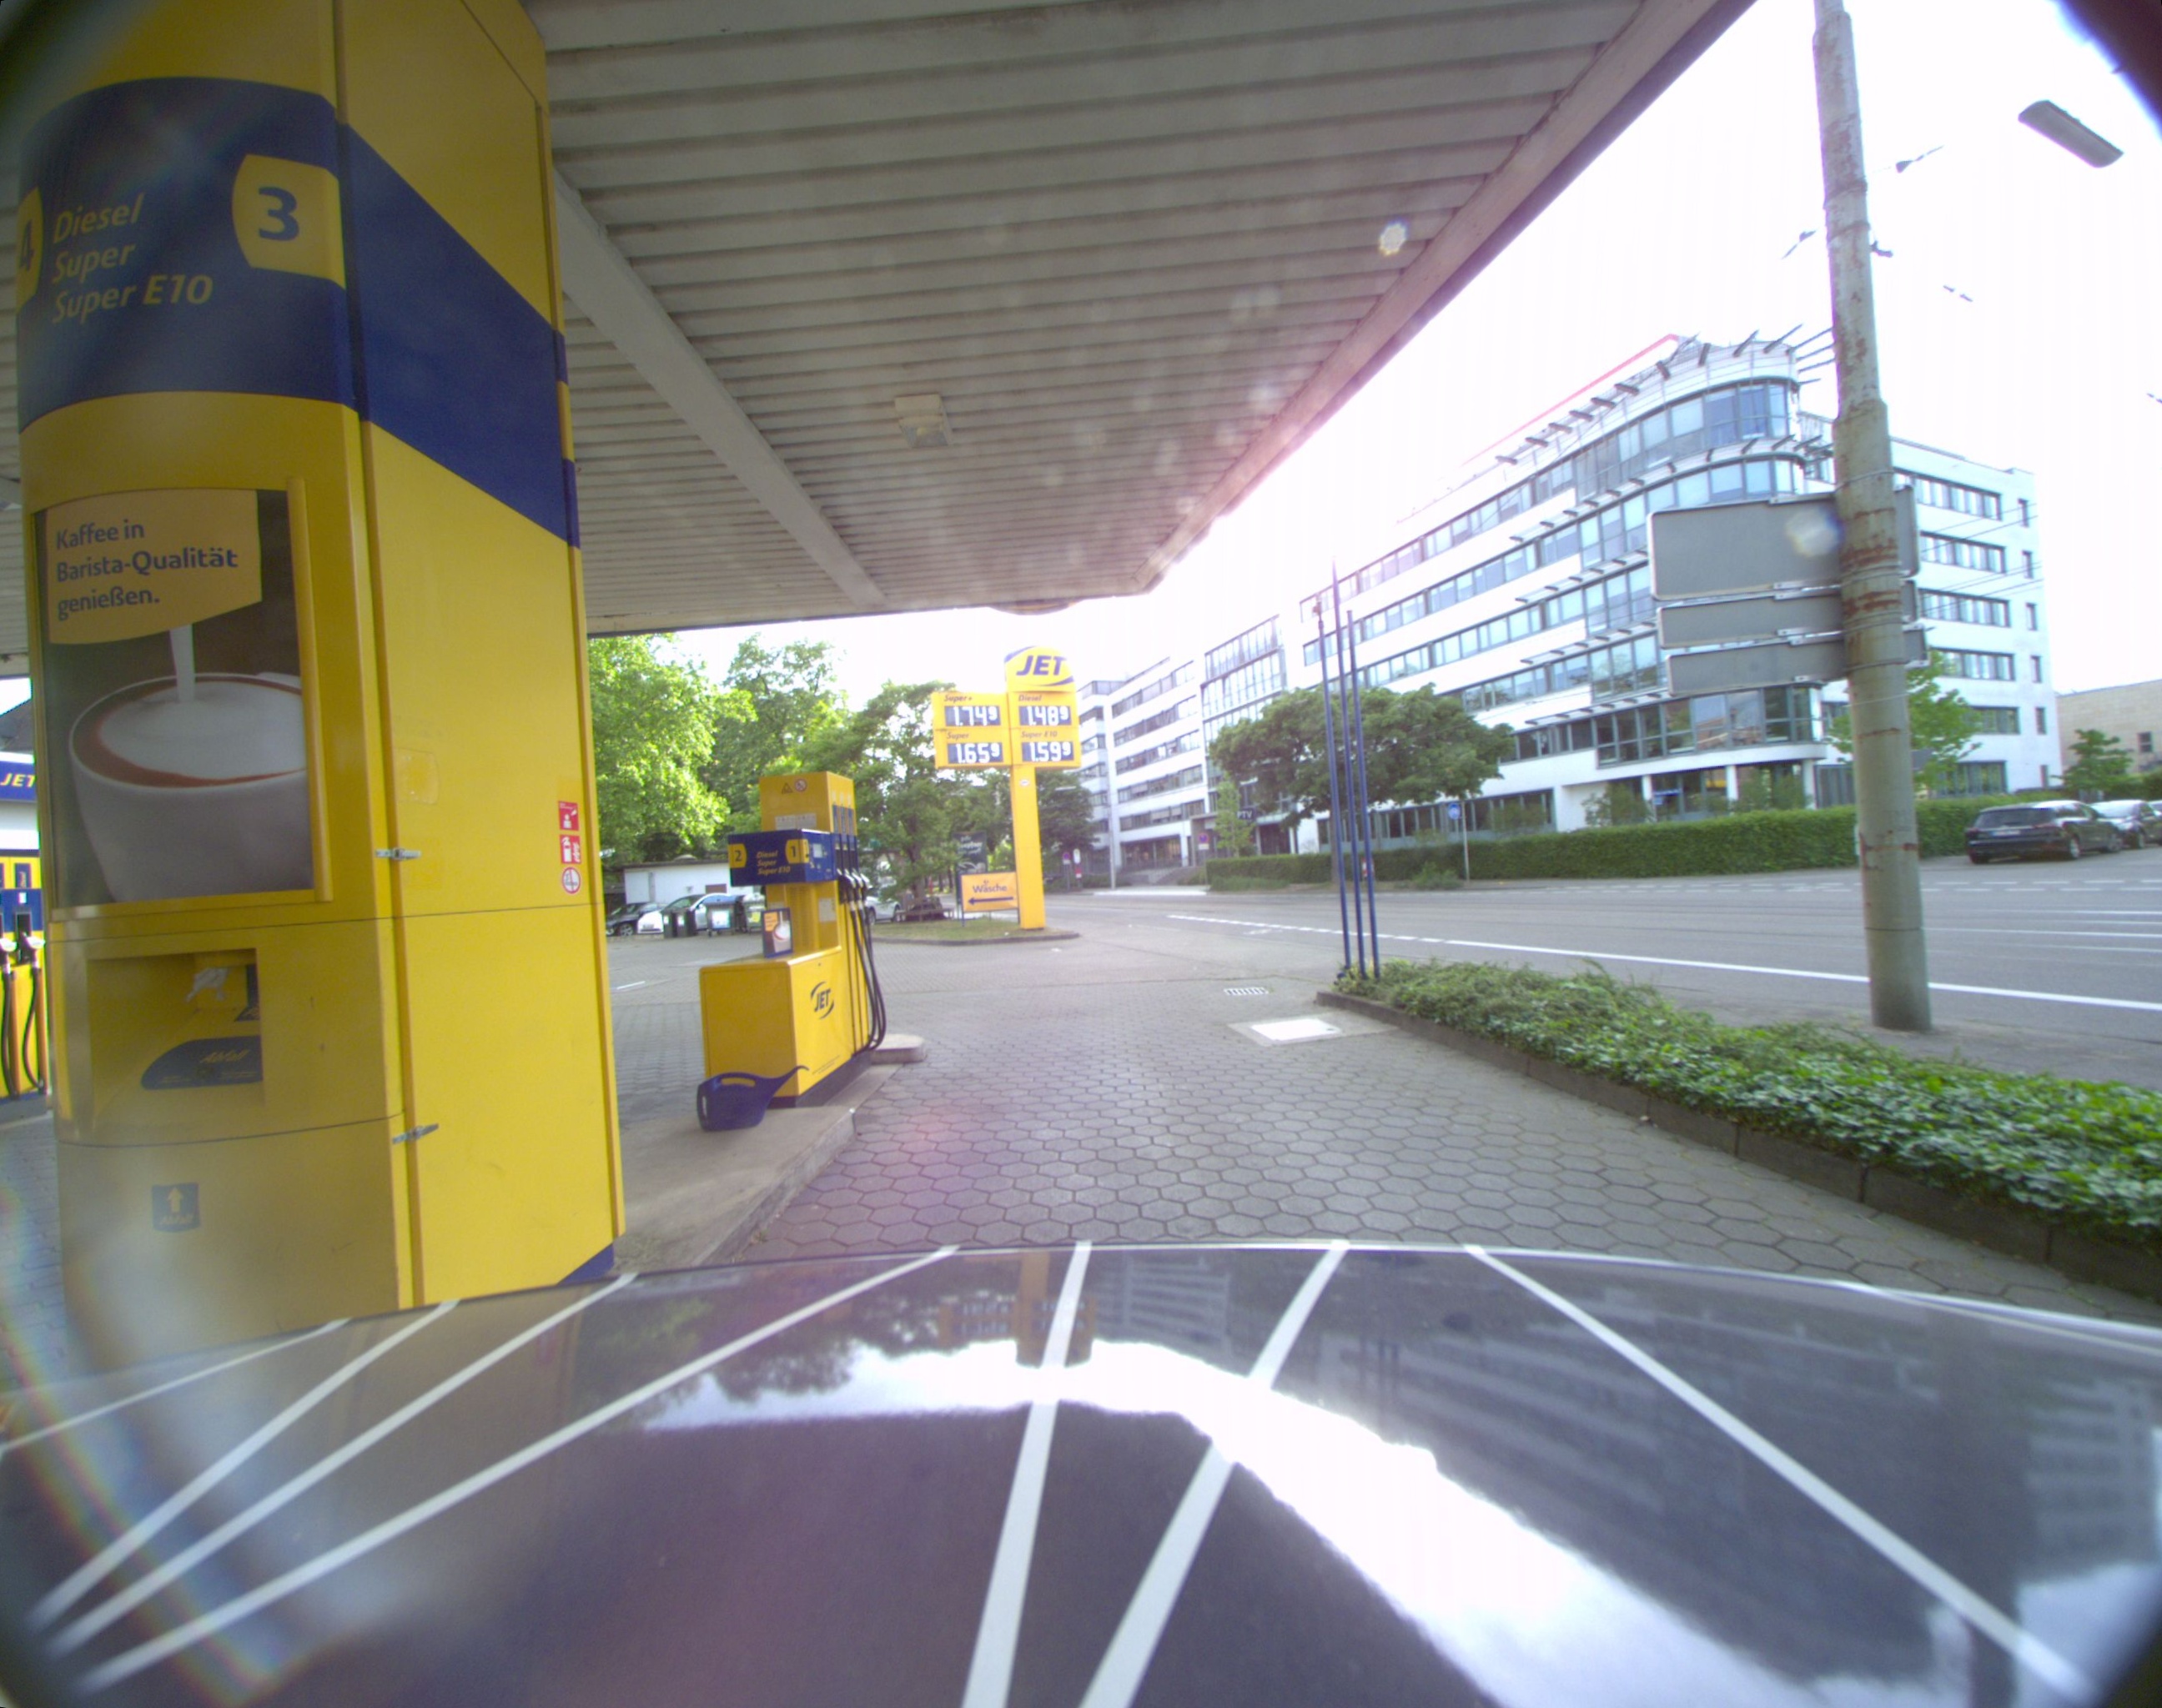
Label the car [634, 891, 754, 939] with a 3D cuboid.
[{"bbox_3d":[-15.290,2.369,30.322,1.771,1.591,4.398,-2,-1,14],"label":"car"}]

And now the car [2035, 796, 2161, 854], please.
[{"bbox_3d":[32.547,-0.942,24.102,4.296,1.530,1.945,-4,-1,-27],"label":"car"}]

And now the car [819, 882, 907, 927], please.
[{"bbox_3d":[-8.634,2.005,30.510,1.772,1.591,4.398,-4,-4,6],"label":"car"}]

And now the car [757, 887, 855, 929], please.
[{"bbox_3d":[-11.652,2.271,32.501,1.771,1.591,4.400,-4,-4,13],"label":"car"}]

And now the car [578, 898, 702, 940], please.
[{"bbox_3d":[-17.792,2.595,30.916,1.771,1.367,4.398,-2,-1,14],"label":"car"}]

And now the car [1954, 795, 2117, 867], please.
[{"bbox_3d":[27.276,-0.664,21.700,4.296,1.681,2.010,-4,-1,-27],"label":"car"}]

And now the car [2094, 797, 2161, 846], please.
[{"bbox_3d":[37.129,-1.198,26.154,4.296,1.509,1.945,-4,-1,-27],"label":"car"}]
